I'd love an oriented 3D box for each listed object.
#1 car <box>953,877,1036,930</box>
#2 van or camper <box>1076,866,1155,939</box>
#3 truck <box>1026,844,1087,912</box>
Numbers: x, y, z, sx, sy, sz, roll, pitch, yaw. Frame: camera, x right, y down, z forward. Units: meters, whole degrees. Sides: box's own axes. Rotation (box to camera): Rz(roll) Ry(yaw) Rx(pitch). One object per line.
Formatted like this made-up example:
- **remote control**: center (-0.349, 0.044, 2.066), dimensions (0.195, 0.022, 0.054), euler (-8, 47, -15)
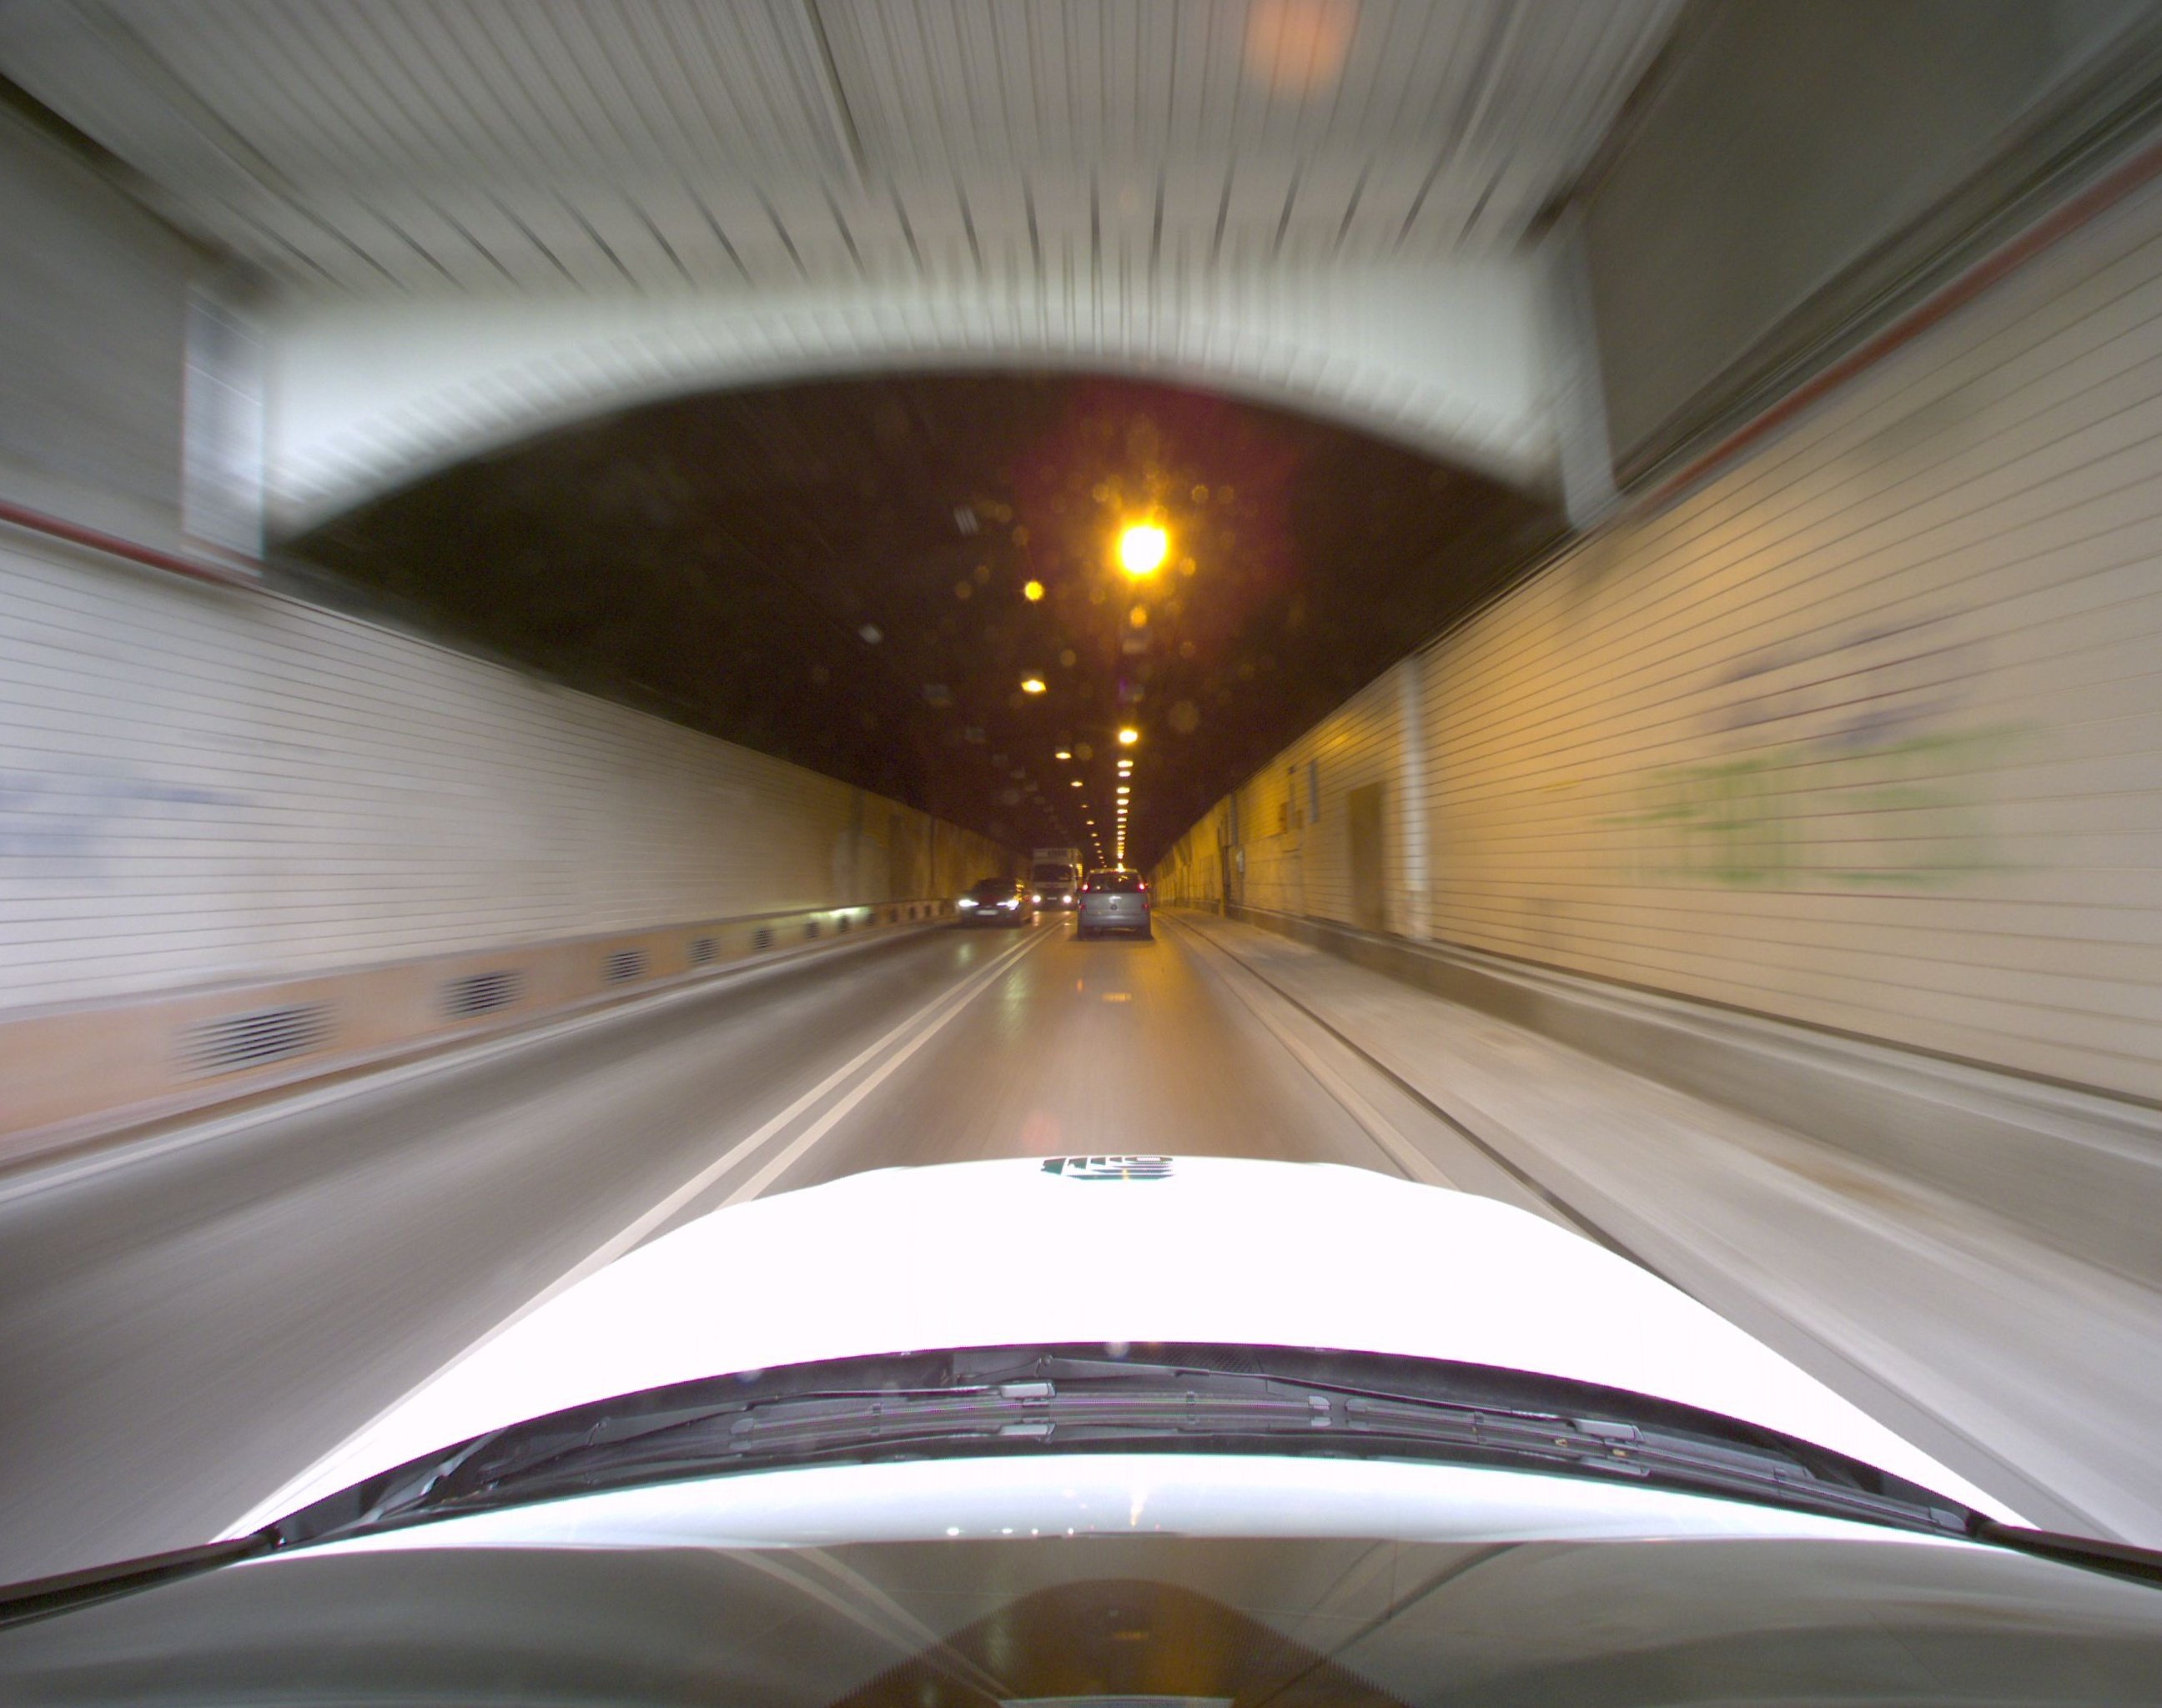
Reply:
- **car**: center (-2.498, 1.442, 24.523), dimensions (1.885, 1.469, 4.162), euler (-1, -2, 3)
- **van or camper**: center (0.803, 1.127, 19.687), dimensions (1.729, 1.578, 3.646), euler (0, -2, 1)
- **truck**: center (-1.343, 1.562, 49.367), dimensions (2.800, 3.717, 7.553), euler (-1, -3, 5)
